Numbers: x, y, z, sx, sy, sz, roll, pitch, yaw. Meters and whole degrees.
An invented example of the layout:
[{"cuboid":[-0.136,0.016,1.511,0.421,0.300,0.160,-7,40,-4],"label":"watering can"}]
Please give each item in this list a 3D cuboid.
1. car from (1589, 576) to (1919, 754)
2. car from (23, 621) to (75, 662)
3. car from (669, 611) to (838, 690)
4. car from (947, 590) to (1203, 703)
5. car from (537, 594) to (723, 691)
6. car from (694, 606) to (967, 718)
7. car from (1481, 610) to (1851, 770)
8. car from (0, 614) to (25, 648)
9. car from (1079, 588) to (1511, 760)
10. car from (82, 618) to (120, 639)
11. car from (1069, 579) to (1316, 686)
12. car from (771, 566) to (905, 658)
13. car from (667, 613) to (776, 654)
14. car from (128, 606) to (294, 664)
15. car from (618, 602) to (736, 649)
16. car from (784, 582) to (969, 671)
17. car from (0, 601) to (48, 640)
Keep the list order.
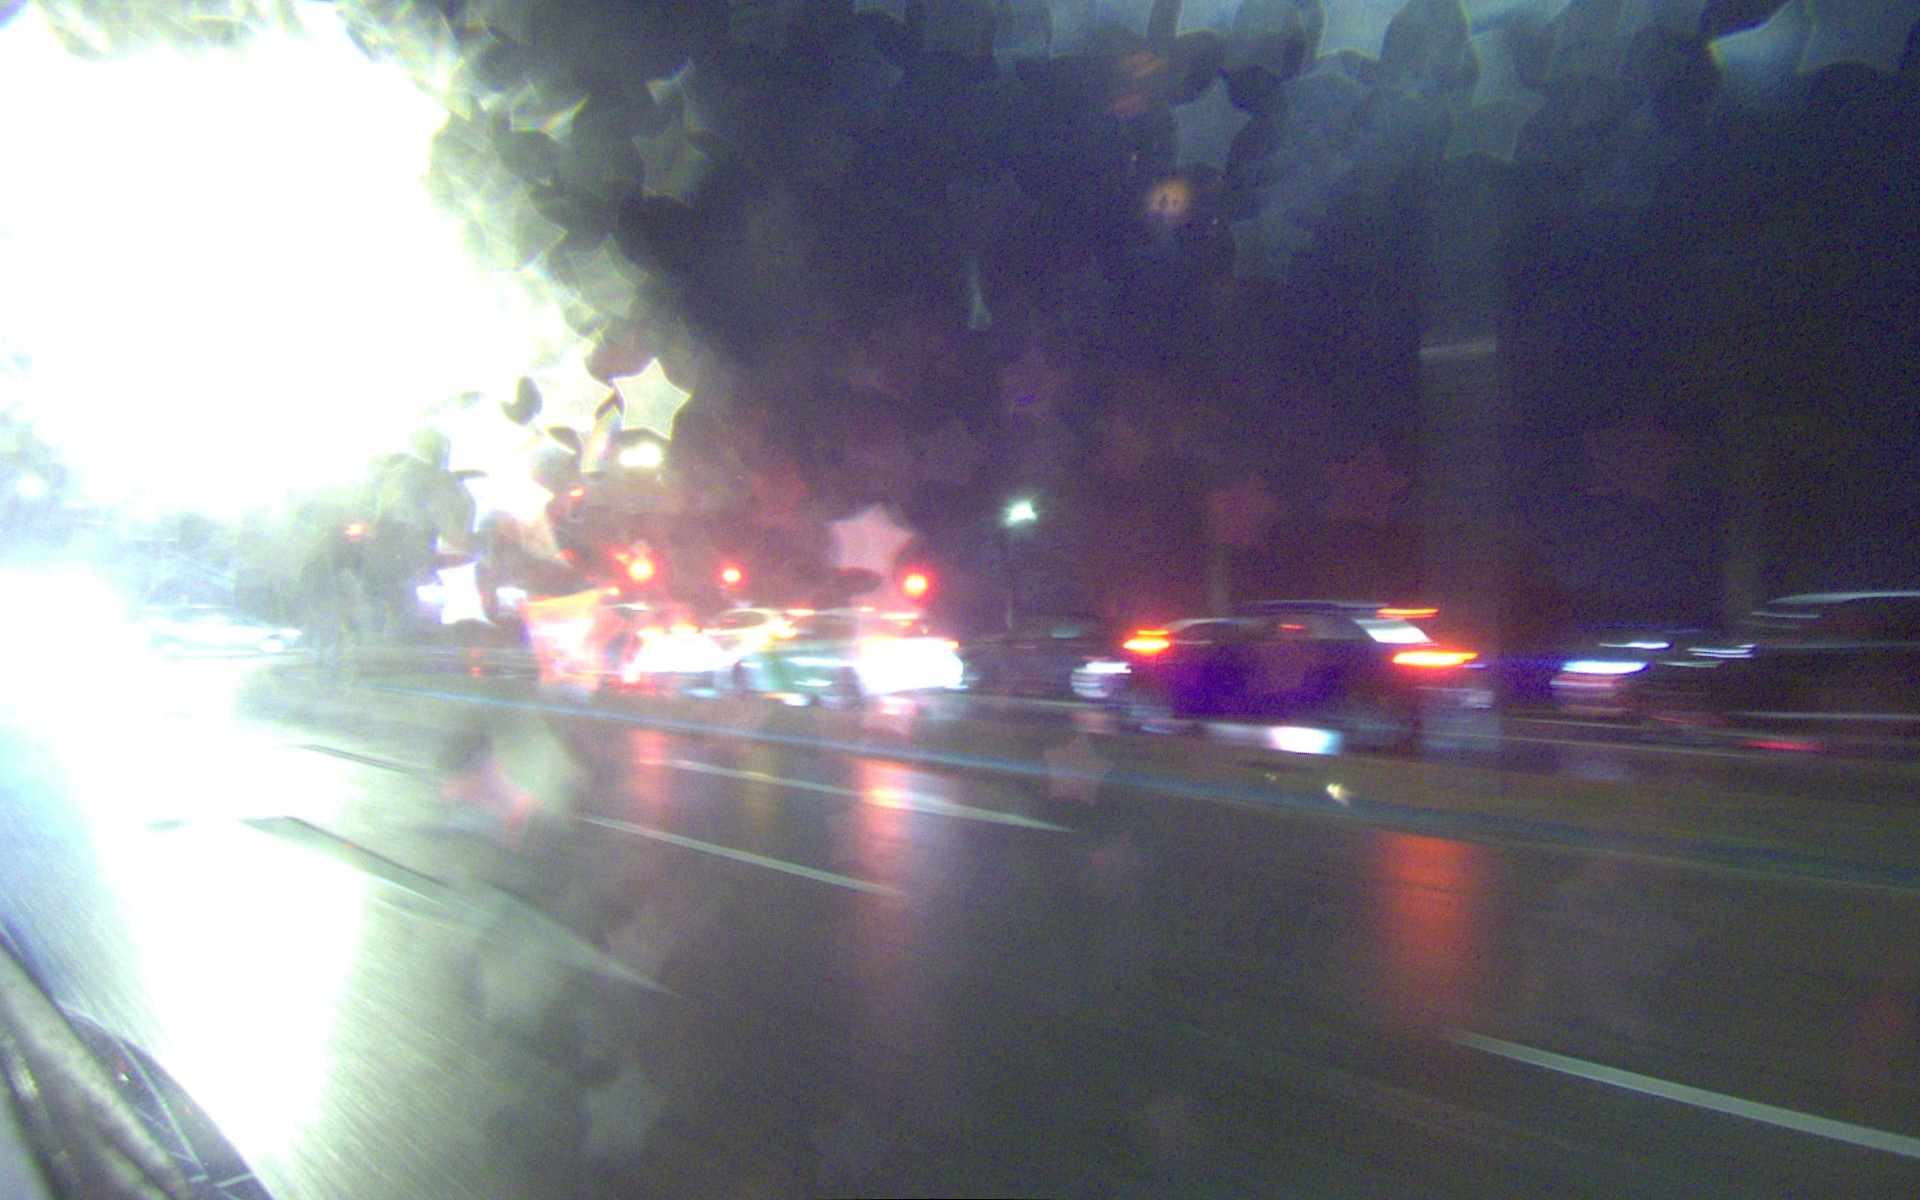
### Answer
[{"cuboid":[9.314,0.630,10.537,4.485,1.678,1.780,-1,-1,41],"label":"car"},{"cuboid":[-46.291,2.064,51.402,4.147,1.867,1.644,2,1,43],"label":"car"},{"cuboid":[-4.669,1.051,22.555,4.060,1.498,1.693,1,0,44],"label":"car"},{"cuboid":[1.860,0.743,17.046,3.974,1.678,1.780,-2,-2,40],"label":"car"},{"cuboid":[-6.599,0.782,20.058,3.899,1.738,1.742,-1,-1,40],"label":"car"},{"cuboid":[-2.118,0.864,15.729,4.410,1.495,1.758,-1,-1,41],"label":"car"},{"cuboid":[9.905,1.127,14.426,4.122,1.862,1.742,1,0,40],"label":"car"},{"cuboid":[-59.461,1.881,62.923,3.610,1.953,1.689,1,1,42],"label":"car"},{"cuboid":[3.646,0.722,11.457,4.302,1.590,1.794,-1,-2,40],"label":"car"},{"cuboid":[-70.696,2.358,83.269,4.035,1.485,1.811,2,2,41],"label":"car"},{"cuboid":[4.348,0.595,19.274,4.247,1.813,1.780,-1,-1,40],"label":"car"},{"cuboid":[-4.131,0.413,33.187,2.218,2.730,5.625,0,-1,-32],"label":"car"},{"cuboid":[-11.198,1.526,47.754,4.650,1.807,2.002,0,-1,-43],"label":"car"},{"cuboid":[-24.718,1.125,33.493,1.790,1.607,4.176,-7,-3,45],"label":"car"},{"cuboid":[-11.858,1.031,42.567,4.490,1.844,1.784,1,0,-45],"label":"car"},{"cuboid":[-1.998,0.599,23.271,4.281,1.862,1.742,-1,-1,40],"label":"car"},{"cuboid":[-52.689,1.131,56.915,4.147,2.039,1.768,2,1,43],"label":"car"}]
